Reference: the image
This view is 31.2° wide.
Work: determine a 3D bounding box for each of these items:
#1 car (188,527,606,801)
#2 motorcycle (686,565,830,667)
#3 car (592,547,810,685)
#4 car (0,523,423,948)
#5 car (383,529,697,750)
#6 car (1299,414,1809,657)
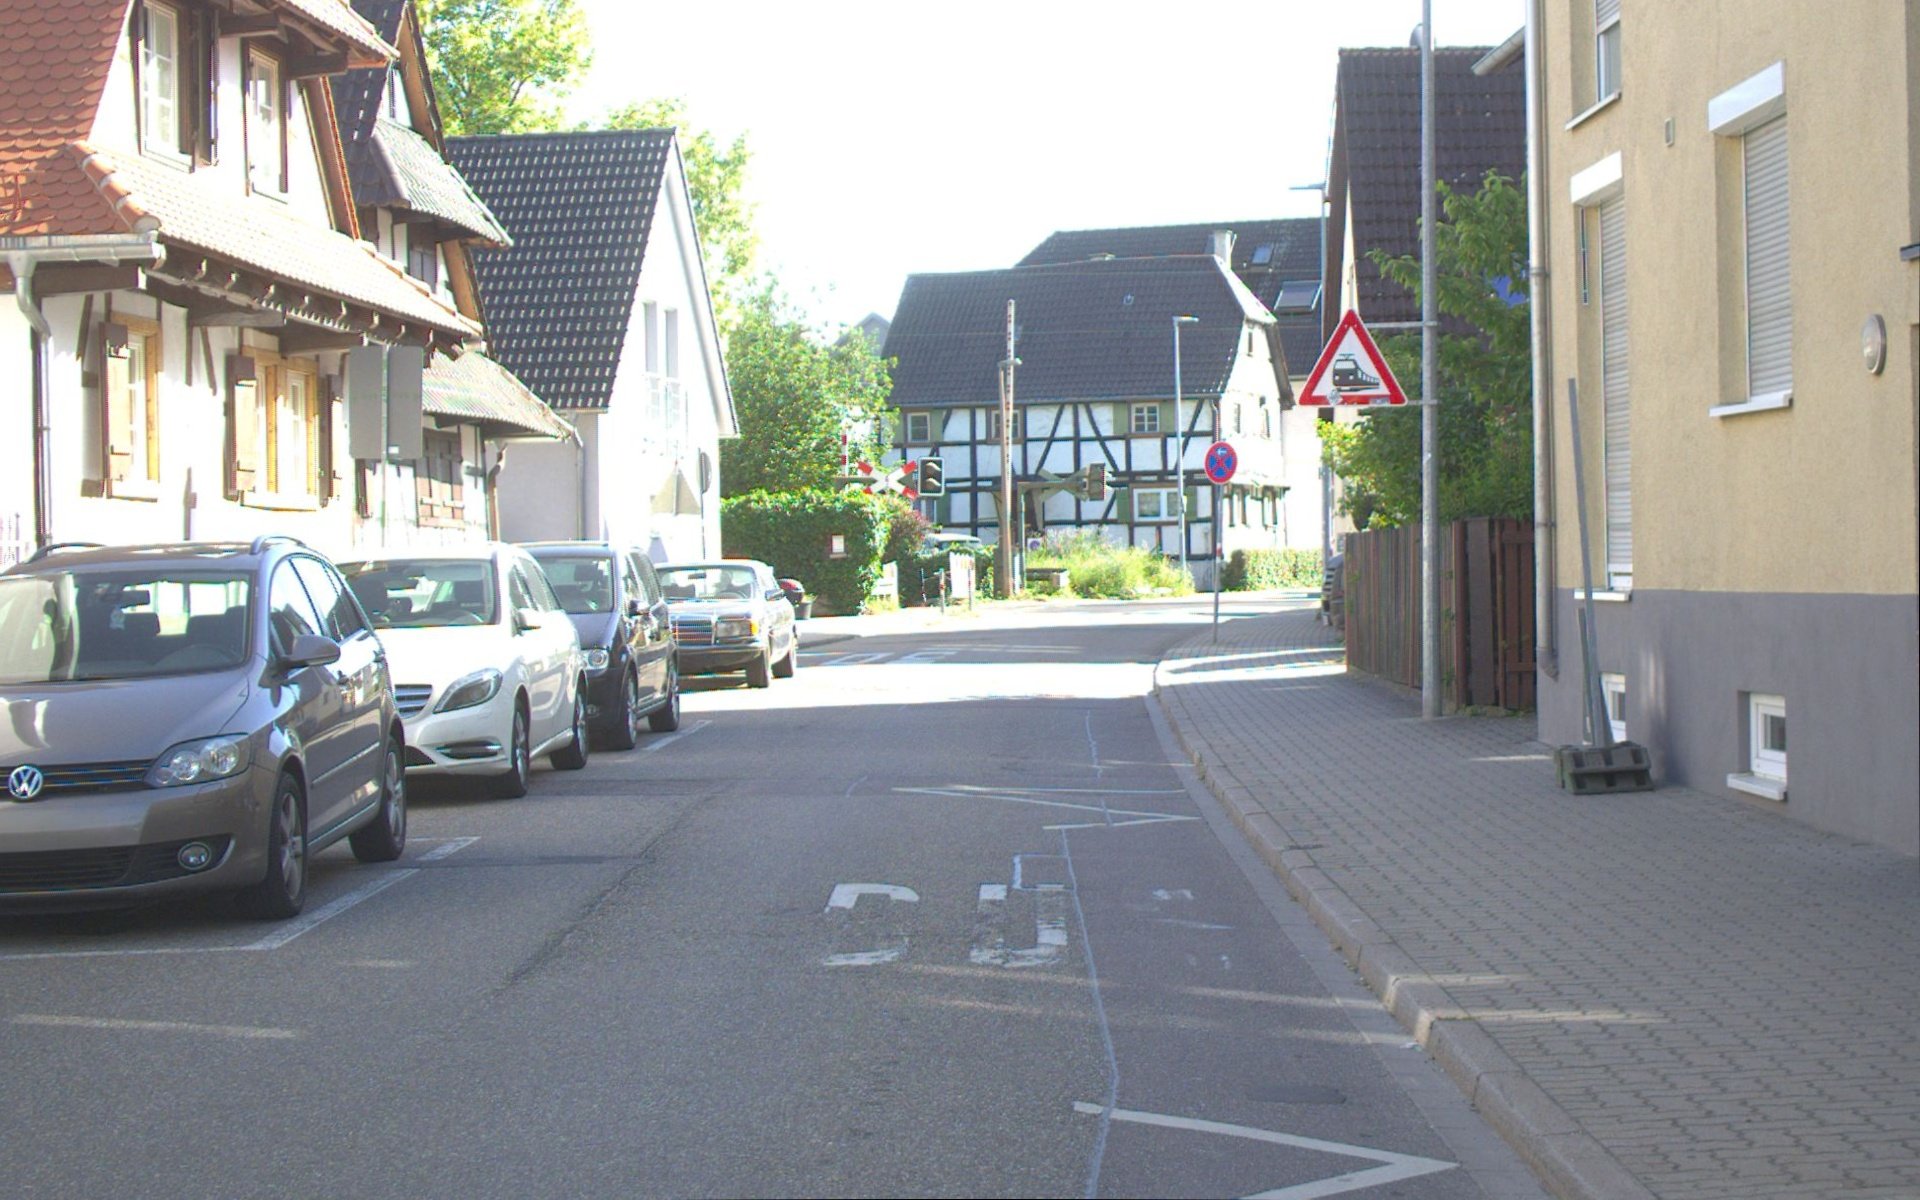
[{"bbox_3d":[-3.503,0.359,22.138,1.816,1.561,4.168,-1,0,2],"label":"car"},{"bbox_3d":[-2.521,0.198,42.763,0.625,1.227,1.993,-3,2,-43],"label":"motorcycle"},{"bbox_3d":[-2.868,0.149,39.097,1.845,1.401,5.036,-2,0,2],"label":"car"},{"bbox_3d":[-3.564,0.513,15.168,1.742,1.608,4.000,-1,0,0],"label":"car"},{"bbox_3d":[-3.272,0.268,27.612,1.784,1.599,4.361,-1,1,2],"label":"car"},{"bbox_3d":[7.266,-0.777,42.454,5.803,2.646,1.968,-3,0,-1],"label":"car"}]
